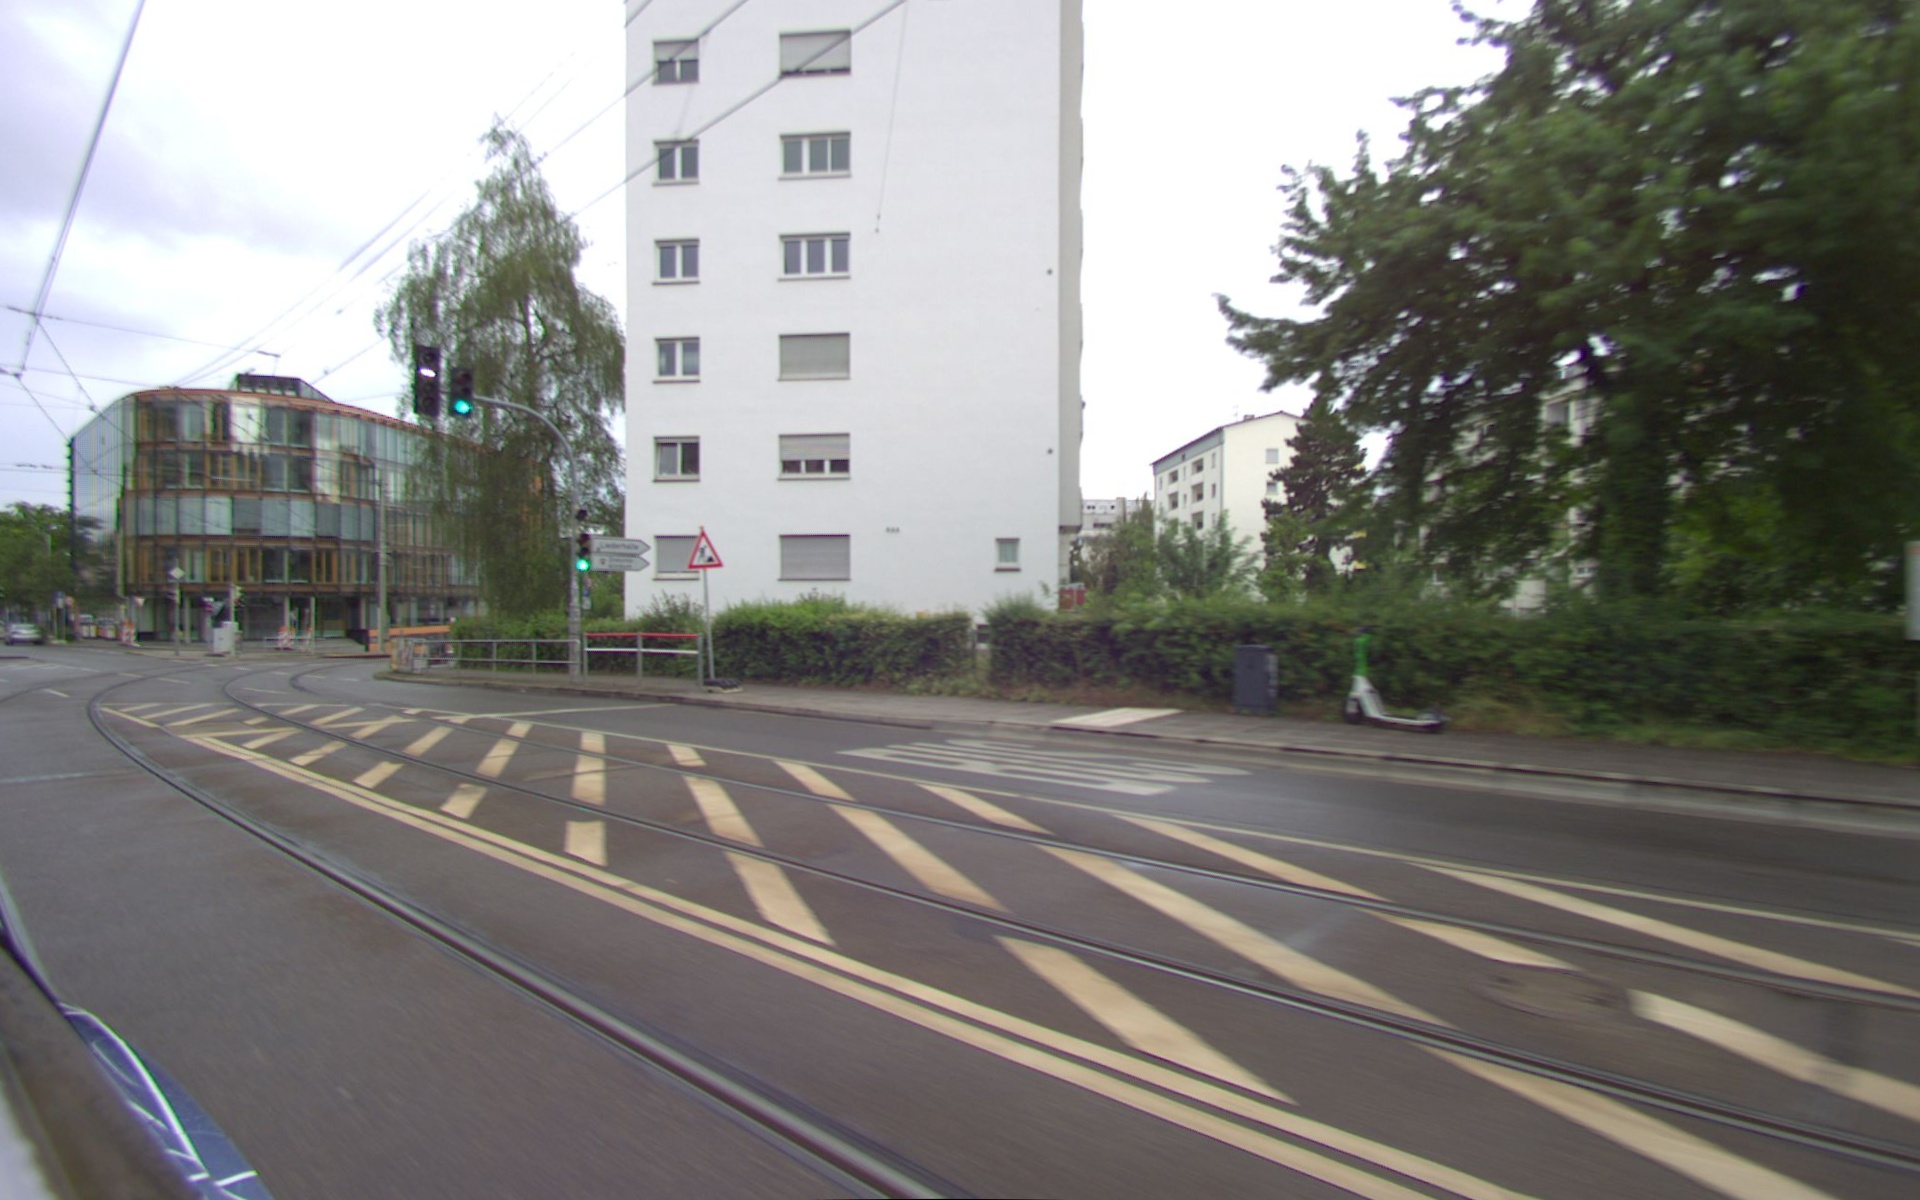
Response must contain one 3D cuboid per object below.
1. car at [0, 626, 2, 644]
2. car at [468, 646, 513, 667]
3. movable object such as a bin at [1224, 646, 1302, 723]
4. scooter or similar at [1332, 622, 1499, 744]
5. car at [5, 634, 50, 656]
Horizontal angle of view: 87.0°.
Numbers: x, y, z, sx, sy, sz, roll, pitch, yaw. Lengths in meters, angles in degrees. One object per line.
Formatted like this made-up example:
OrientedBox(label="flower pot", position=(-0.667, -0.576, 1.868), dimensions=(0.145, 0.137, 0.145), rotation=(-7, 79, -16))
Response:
OrientedBox(label="car", position=(-96.247, 3.482, 100.049), dimensions=(3.997, 1.722, 1.856), rotation=(0, 0, 40))
OrientedBox(label="car", position=(-40.483, 4.831, 87.353), dimensions=(1.892, 1.507, 3.998), rotation=(-1, 1, 1))
OrientedBox(label="movable object such as a bin", position=(3.860, 1.054, 12.880), dimensions=(0.759, 0.888, 0.680), rotation=(0, 1, 38))
OrientedBox(label="scooter or similar", position=(4.989, 0.870, 11.178), dimensions=(0.565, 1.193, 1.603), rotation=(-1, 1, -37))
OrientedBox(label="car", position=(-63.535, 3.067, 68.945), dimensions=(4.644, 1.405, 1.838), rotation=(-2, -2, 42))
